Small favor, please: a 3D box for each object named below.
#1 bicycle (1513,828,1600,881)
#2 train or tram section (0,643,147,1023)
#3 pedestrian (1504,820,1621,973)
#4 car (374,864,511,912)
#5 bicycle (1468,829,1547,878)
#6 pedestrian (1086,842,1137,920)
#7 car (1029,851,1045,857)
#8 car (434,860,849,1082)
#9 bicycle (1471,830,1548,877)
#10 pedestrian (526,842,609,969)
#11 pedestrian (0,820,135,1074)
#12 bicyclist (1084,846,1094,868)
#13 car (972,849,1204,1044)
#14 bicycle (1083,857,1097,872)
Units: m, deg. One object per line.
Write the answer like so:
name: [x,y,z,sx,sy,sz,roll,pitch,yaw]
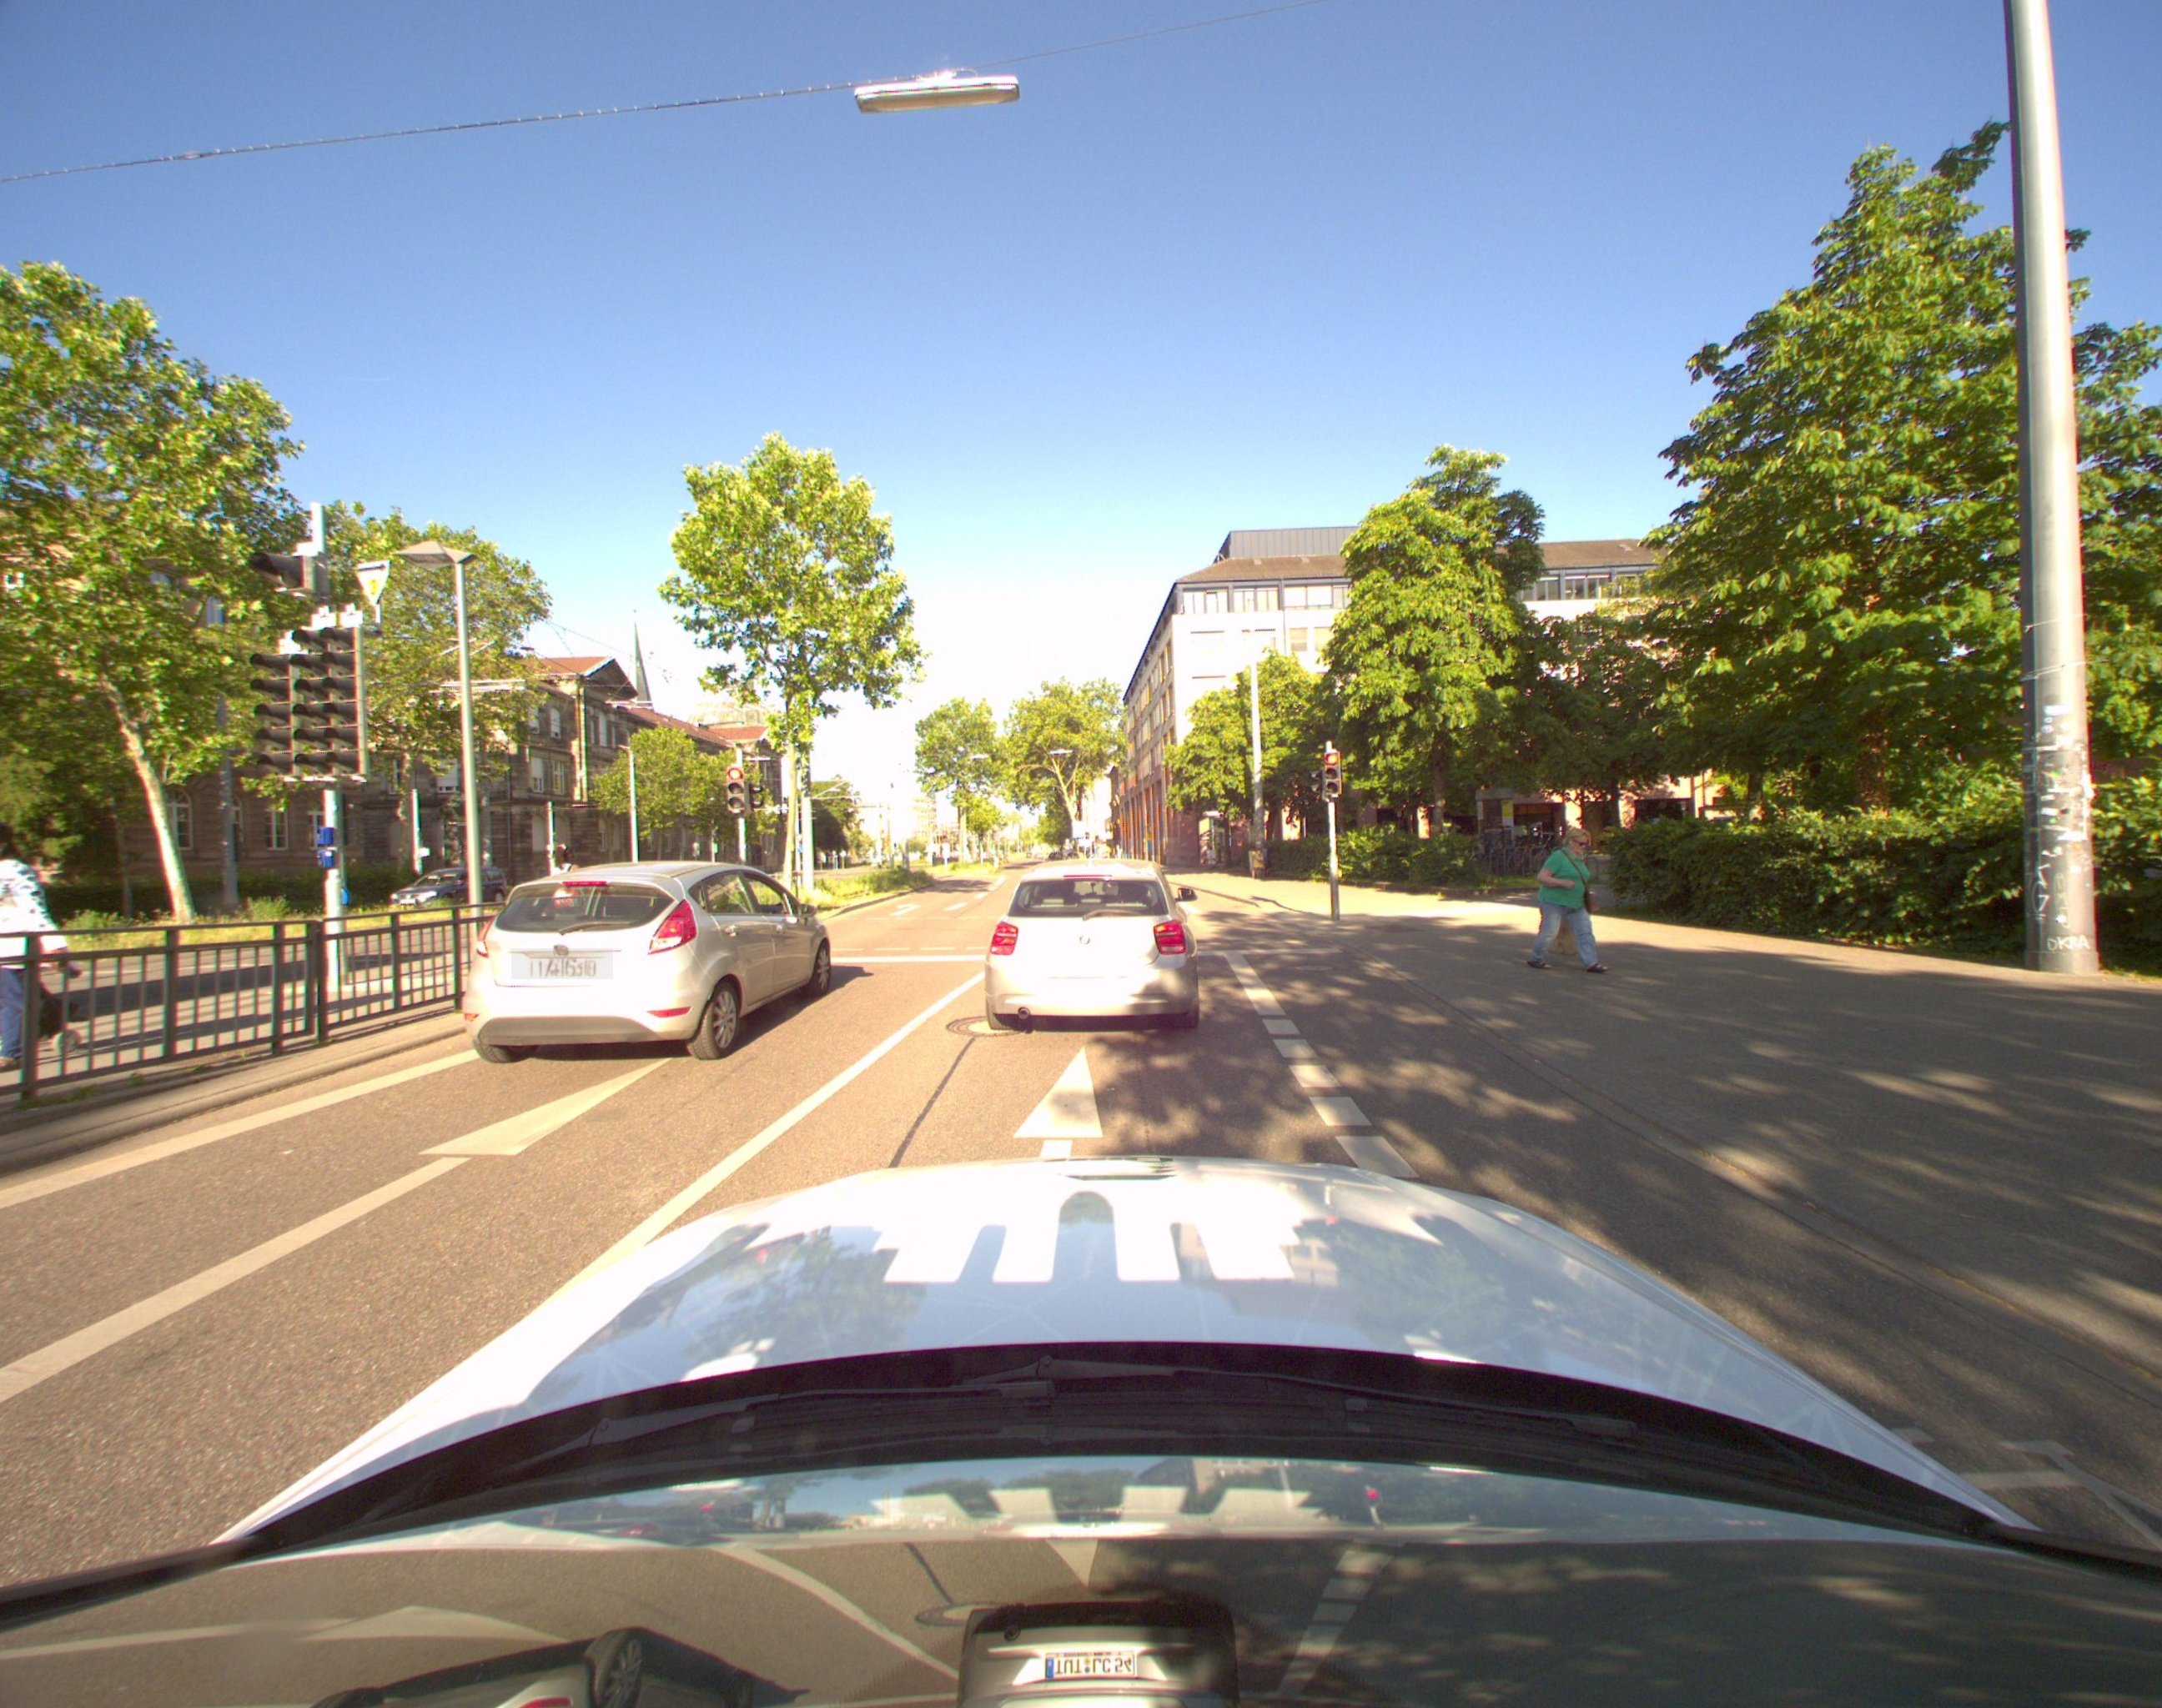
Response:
bicycle: [13.088,0.015,22.445,1.989,1.314,0.574,-3,0,0]
train or tram section: [-10.546,-0.257,1.454,2.907,3.260,13.102,0,-1,-2]
pedestrian: [5.312,0.442,8.995,0.742,1.575,0.823,-2,-1,-36]
car: [-24.345,1.249,31.260,1.986,1.625,4.002,-2,0,2]
bicycle: [12.771,-0.016,24.409,1.989,1.314,0.574,-3,0,0]
pedestrian: [0.653,0.564,17.486,0.941,1.629,0.626,-1,0,-12]
car: [-11.723,0.041,216.127,3.963,1.486,2.005,-2,0,9]
car: [-3.385,0.771,7.133,1.655,1.409,3.631,-1,0,0]
bicycle: [13.163,-0.007,25.023,1.989,1.314,0.574,-3,0,0]
pedestrian: [-6.548,0.635,10.411,0.630,1.557,0.645,-2,0,-6]
pedestrian: [-7.125,0.615,5.523,0.639,1.619,0.640,-2,-3,-6]
bicyclist: [0.631,0.227,63.293,0.655,1.657,0.766,-3,0,7]
car: [0.221,0.681,7.997,1.722,1.390,3.846,0,1,5]
bicycle: [0.689,0.816,63.431,0.827,1.041,1.878,-3,0,7]
